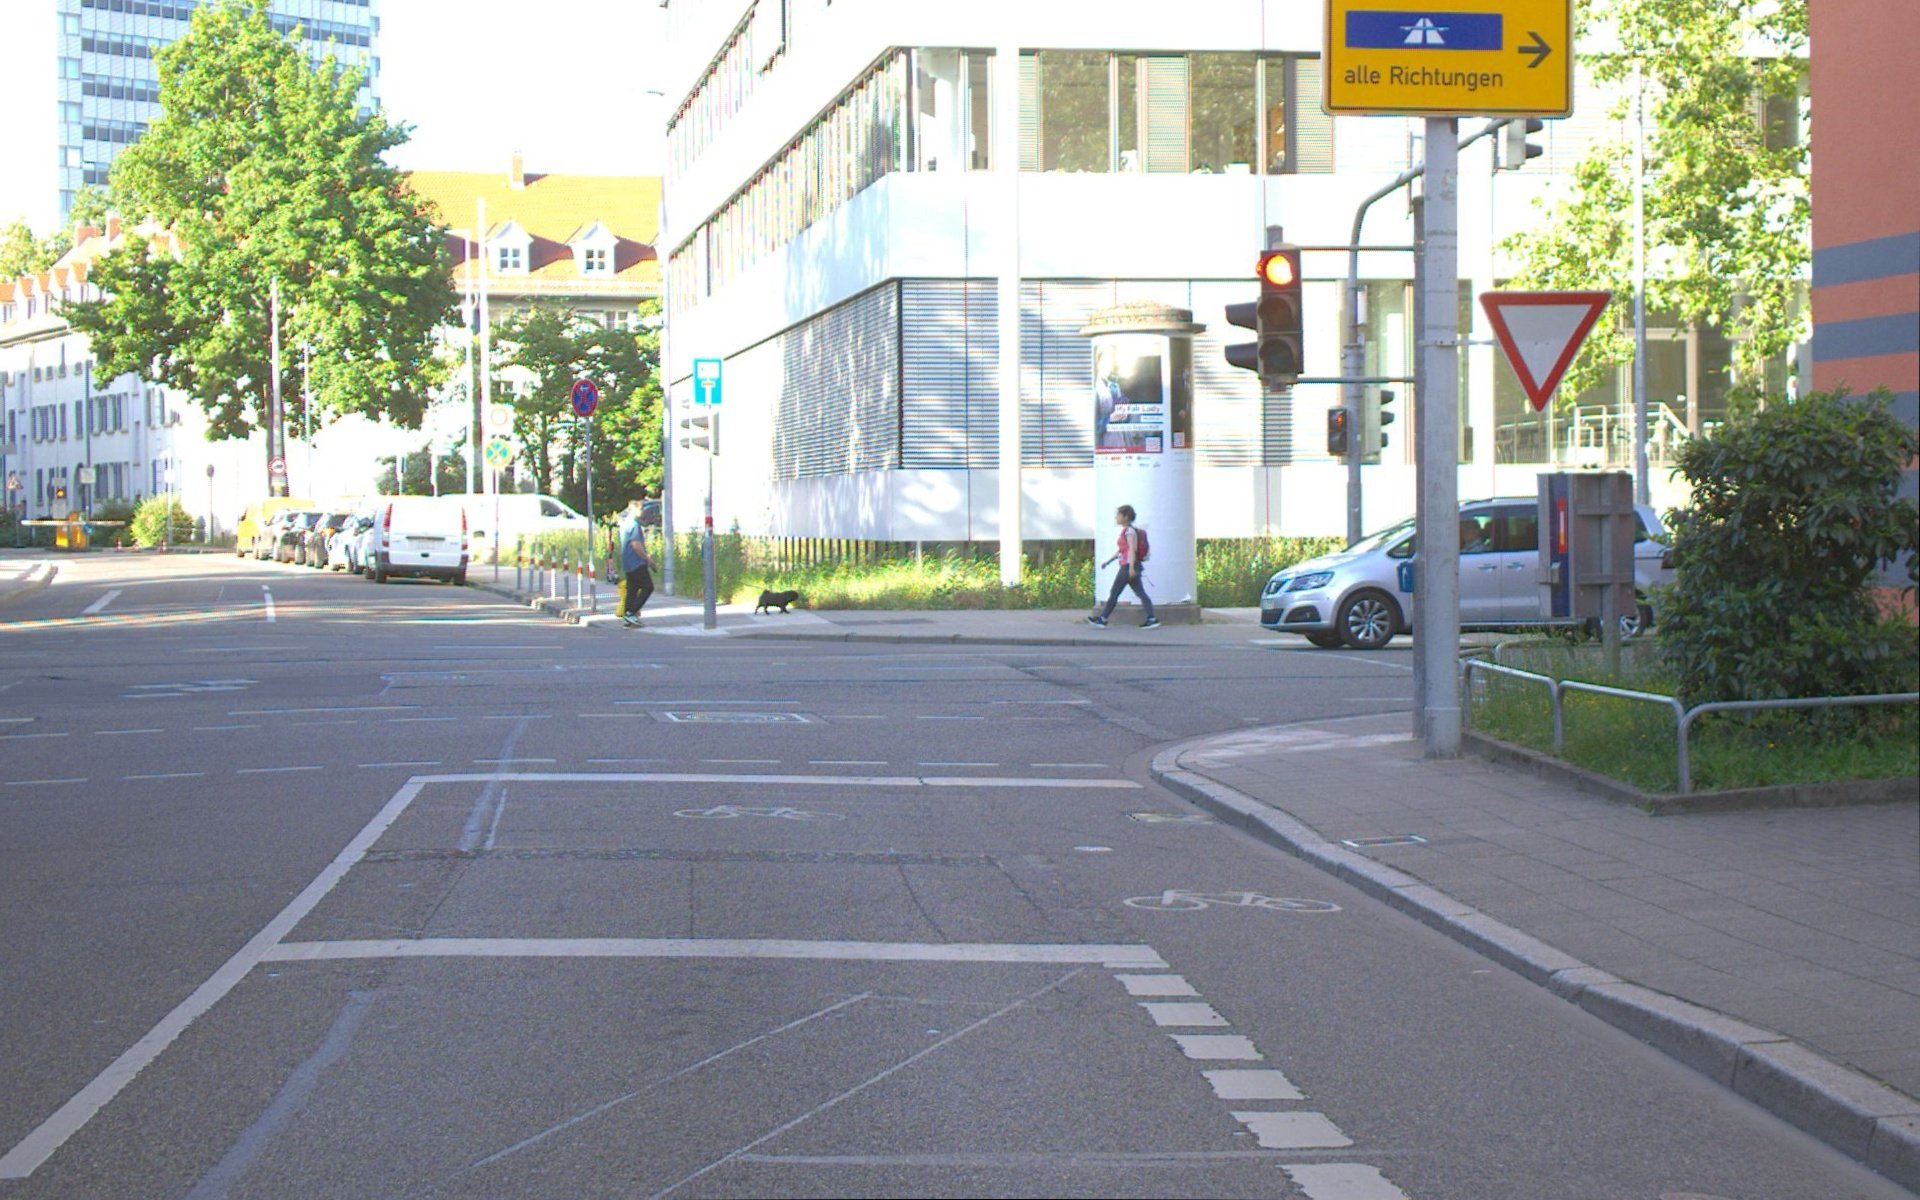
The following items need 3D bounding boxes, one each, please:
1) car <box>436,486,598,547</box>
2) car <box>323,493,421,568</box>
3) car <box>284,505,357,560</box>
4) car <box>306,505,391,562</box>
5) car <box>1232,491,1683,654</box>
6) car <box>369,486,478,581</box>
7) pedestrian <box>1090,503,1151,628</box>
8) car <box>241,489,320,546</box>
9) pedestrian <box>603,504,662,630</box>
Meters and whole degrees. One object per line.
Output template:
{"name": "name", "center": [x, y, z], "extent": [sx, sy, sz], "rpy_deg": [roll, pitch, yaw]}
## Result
{"name": "car", "center": [-14.327, -2.682, 111.118], "extent": [4.880, 1.865, 2.001], "rpy_deg": [1, 1, -19]}
{"name": "car", "center": [-14.495, -1.732, 84.599], "extent": [1.946, 1.789, 4.239], "rpy_deg": [-1, 2, -15]}
{"name": "car", "center": [-17.493, -1.870, 93.940], "extent": [1.703, 1.459, 4.239], "rpy_deg": [-1, 2, -14]}
{"name": "car", "center": [-15.899, -1.739, 89.196], "extent": [1.703, 1.419, 4.239], "rpy_deg": [-1, 2, -16]}
{"name": "car", "center": [5.655, -0.341, 39.330], "extent": [4.758, 1.701, 1.800], "rpy_deg": [-2, 2, -8]}
{"name": "car", "center": [-11.413, -1.428, 72.968], "extent": [2.066, 1.956, 4.239], "rpy_deg": [-1, 2, -11]}
{"name": "pedestrian", "center": [2.057, -0.448, 44.117], "extent": [0.712, 1.594, 0.617], "rpy_deg": [0, 1, -3]}
{"name": "car", "center": [-20.494, -2.497, 103.624], "extent": [2.100, 1.652, 4.477], "rpy_deg": [-1, 2, -14]}
{"name": "pedestrian", "center": [-4.571, -0.468, 47.917], "extent": [0.652, 1.730, 0.812], "rpy_deg": [-1, 2, -17]}
